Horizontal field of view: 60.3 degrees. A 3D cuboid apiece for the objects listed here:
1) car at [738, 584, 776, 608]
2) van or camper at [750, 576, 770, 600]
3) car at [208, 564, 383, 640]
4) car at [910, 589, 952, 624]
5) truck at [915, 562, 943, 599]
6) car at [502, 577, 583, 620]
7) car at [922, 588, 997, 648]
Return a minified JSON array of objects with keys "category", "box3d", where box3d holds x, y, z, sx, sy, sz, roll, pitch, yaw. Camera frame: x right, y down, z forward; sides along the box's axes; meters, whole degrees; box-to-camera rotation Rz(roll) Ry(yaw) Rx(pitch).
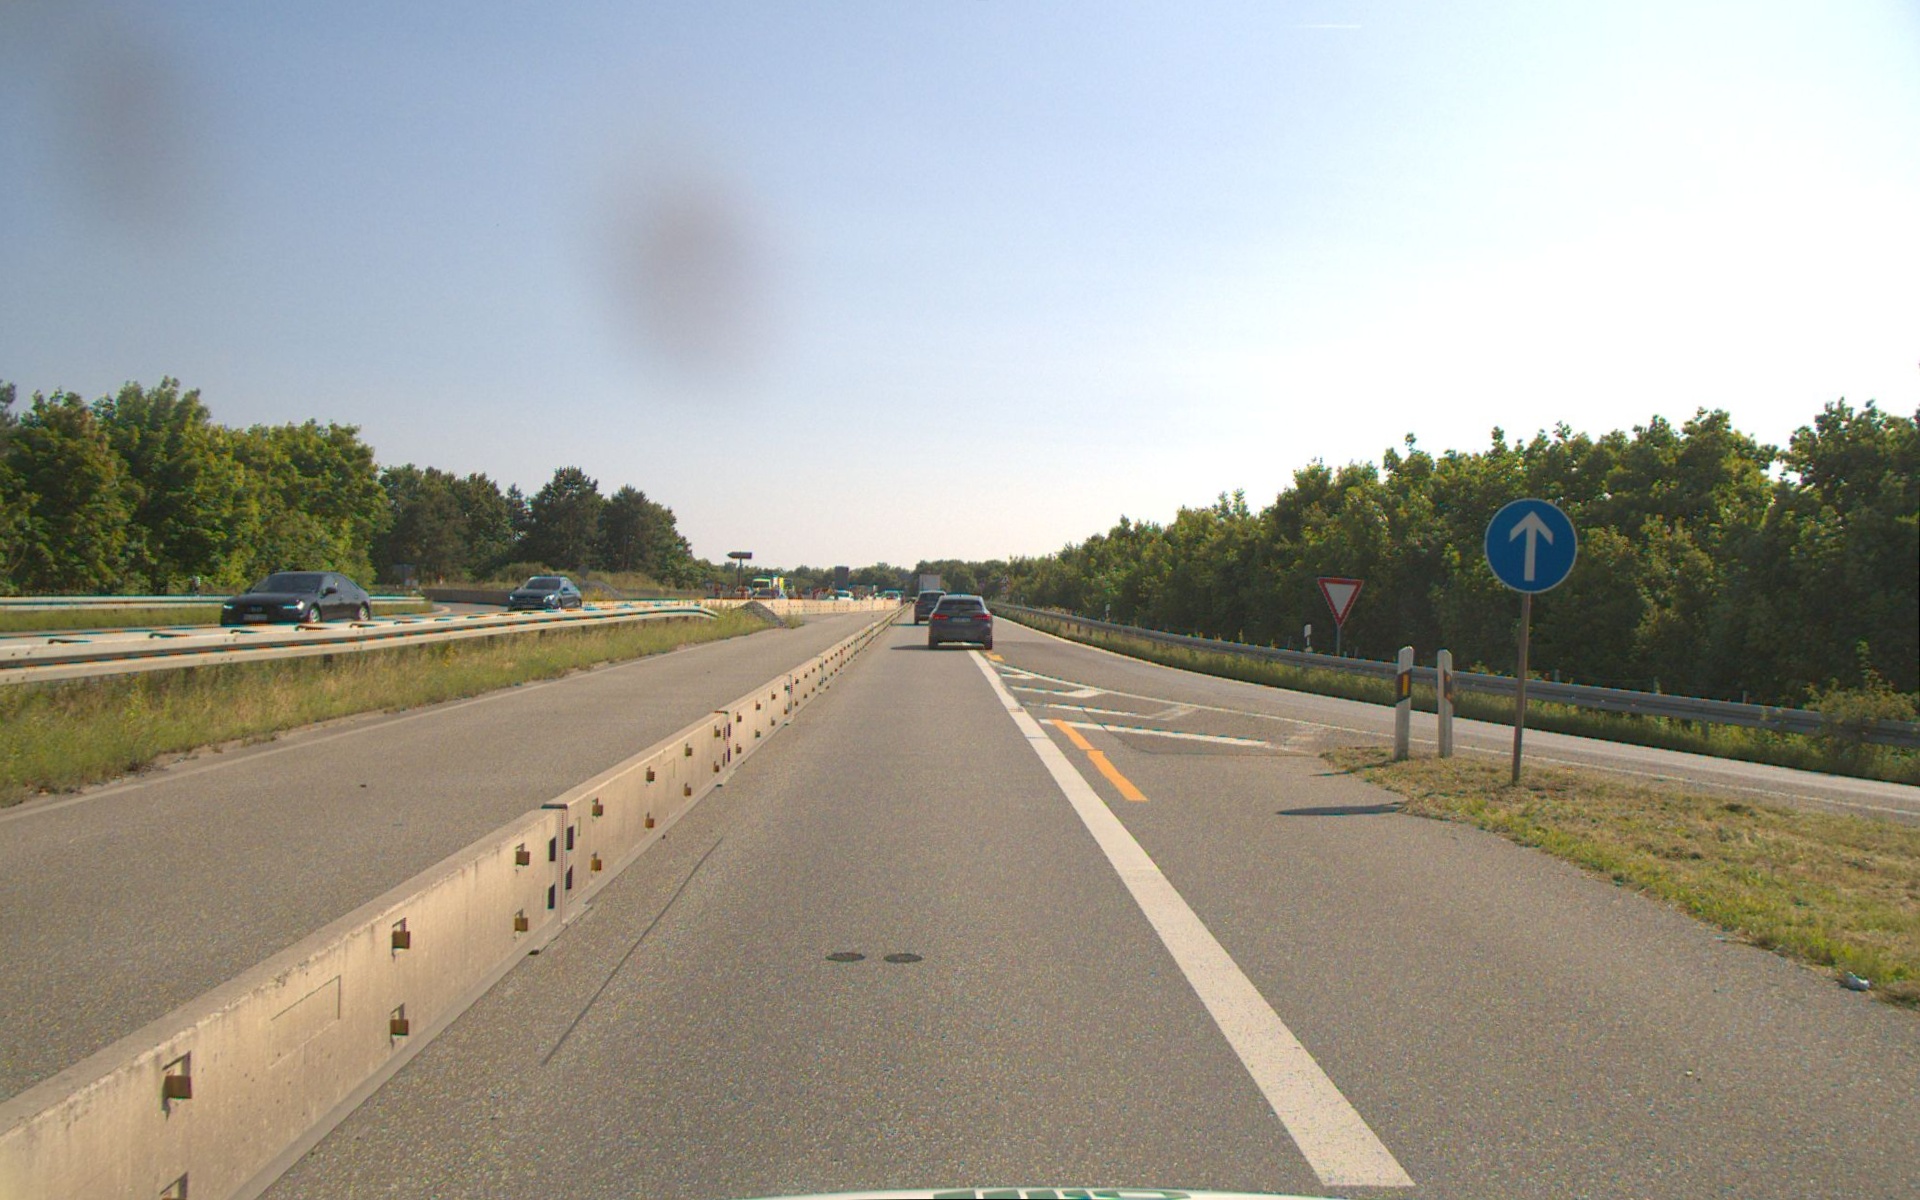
[{"category":"car","box3d":[-12.599,-0.270,102.836,1.802,1.466,4.812,0,0,0]},{"category":"van or camper","box3d":[-21.159,-1.296,174.932,1.956,2.419,6.192,-1,0,-7]},{"category":"car","box3d":[-14.727,0.030,36.974,1.779,1.514,5.024,2,0,1]},{"category":"car","box3d":[-1.366,0.274,78.735,1.953,1.594,4.000,1,0,-1]},{"category":"truck","box3d":[-4.468,-2.771,237.050,3.685,4.997,14.131,2,0,-2]},{"category":"car","box3d":[-15.157,-0.067,60.262,1.760,1.459,4.592,1,0,0]},{"category":"car","box3d":[-0.055,0.468,45.850,1.882,1.520,3.998,2,0,-2]}]
